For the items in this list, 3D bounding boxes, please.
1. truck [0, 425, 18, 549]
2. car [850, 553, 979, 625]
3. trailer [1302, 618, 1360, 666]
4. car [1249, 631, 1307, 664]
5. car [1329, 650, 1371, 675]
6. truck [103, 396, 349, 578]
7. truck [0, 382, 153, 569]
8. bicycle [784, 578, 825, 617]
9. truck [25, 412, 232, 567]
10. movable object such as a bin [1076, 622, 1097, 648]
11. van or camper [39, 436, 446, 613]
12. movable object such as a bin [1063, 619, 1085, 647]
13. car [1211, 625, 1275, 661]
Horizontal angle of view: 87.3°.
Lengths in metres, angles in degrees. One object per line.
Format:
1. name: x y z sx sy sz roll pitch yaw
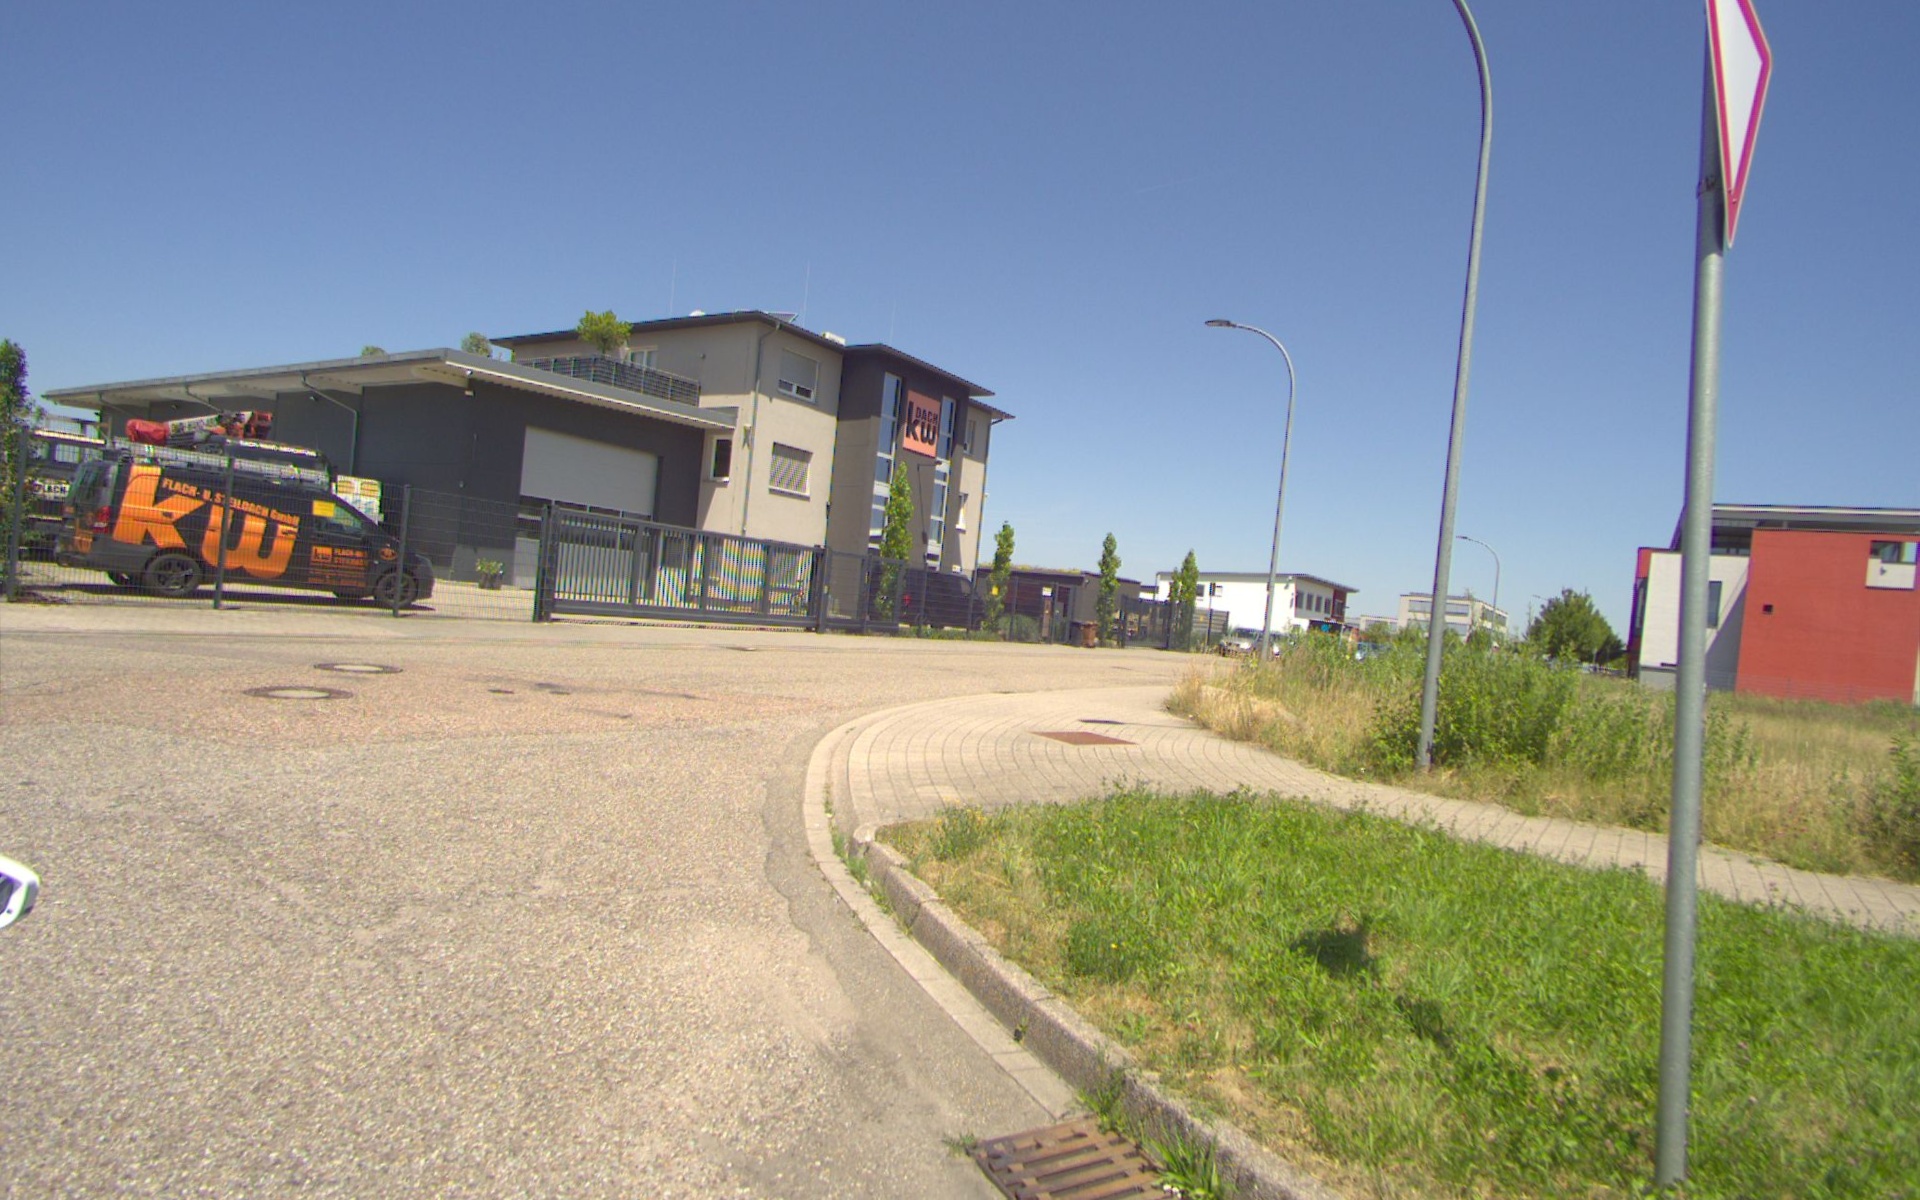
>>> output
1. truck: -26.727 -3.104 25.315 6.826 2.975 2.921 6 1 35
2. car: -1.379 -0.307 32.228 1.969 1.891 3.986 7 1 35
3. trailer: 22.497 2.568 60.912 2.197 2.633 3.988 6 1 34
4. car: 16.336 2.440 51.540 1.652 1.402 3.629 8 1 36
5. car: 25.628 4.127 66.105 1.651 1.402 3.630 8 1 34
6. truck: -19.256 -2.906 26.266 6.826 3.979 2.921 6 1 35
7. truck: -19.231 -2.510 20.223 6.826 3.101 2.726 6 1 35
8. bicycle: -5.256 -0.073 34.020 0.436 1.200 1.806 6 1 21
9. truck: -25.294 -3.330 30.492 6.826 3.979 2.921 6 1 35
10. movable object such as a bin: 4.553 1.263 36.237 0.552 0.896 0.434 7 2 36
11. van or camper: -11.436 -1.107 16.447 1.968 2.191 4.936 8 1 34
12. movable object such as a bin: 4.043 1.170 35.619 0.552 0.896 0.434 7 2 36
13. car: 13.323 2.035 47.265 1.652 1.402 3.629 8 1 36
